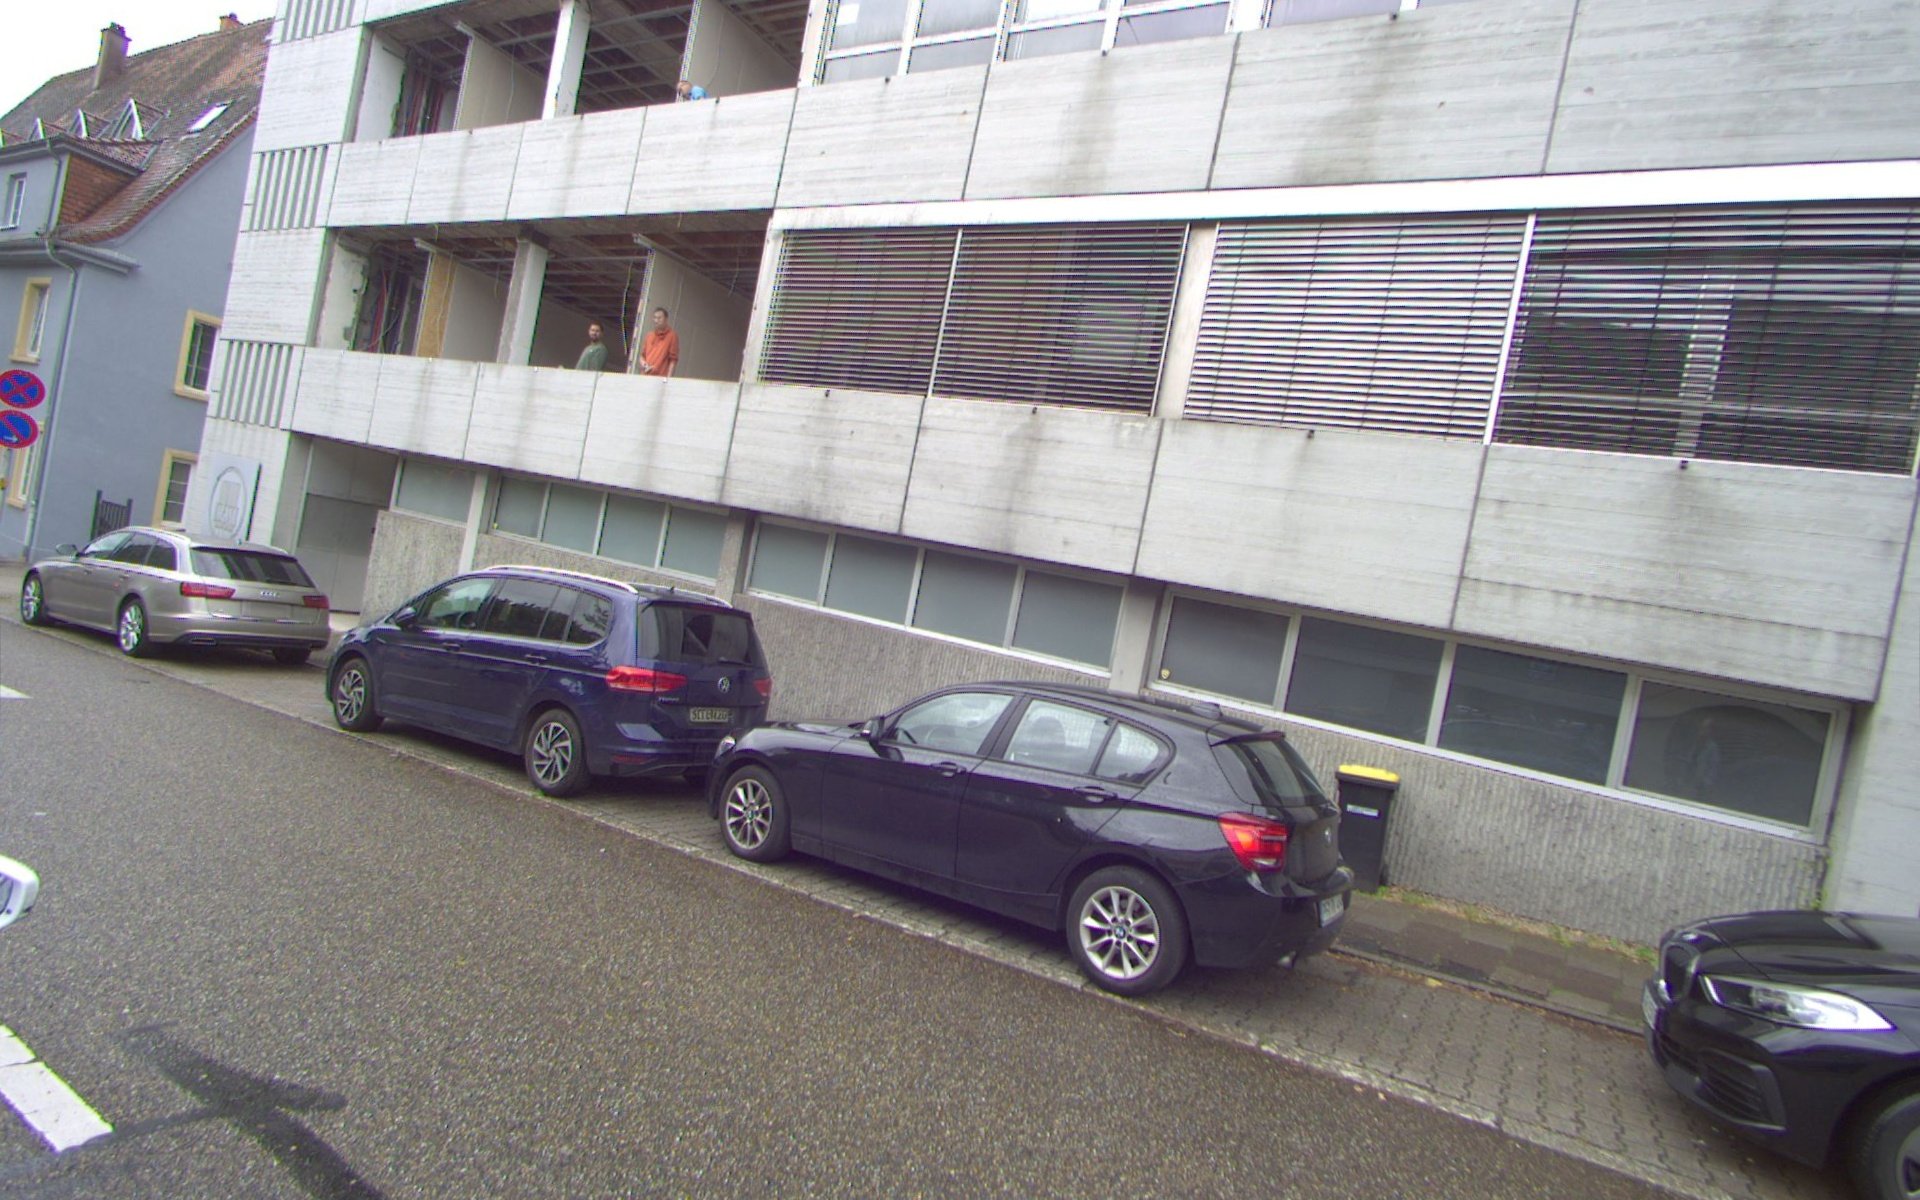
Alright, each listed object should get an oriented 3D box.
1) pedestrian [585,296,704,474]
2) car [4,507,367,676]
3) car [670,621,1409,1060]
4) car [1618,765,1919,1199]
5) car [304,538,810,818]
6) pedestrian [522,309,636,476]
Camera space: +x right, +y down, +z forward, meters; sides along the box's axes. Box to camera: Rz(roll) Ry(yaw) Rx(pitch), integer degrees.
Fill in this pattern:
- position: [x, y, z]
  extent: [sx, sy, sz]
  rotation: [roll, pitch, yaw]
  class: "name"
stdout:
- position: [-4.089, -2.753, 13.086]
  extent: [0.847, 2.036, 0.909]
  rotation: [6, -2, 31]
  class: "pedestrian"
- position: [-9.808, -0.128, 12.675]
  extent: [4.449, 1.465, 1.967]
  rotation: [7, -1, 30]
  class: "car"
- position: [0.332, 1.161, 6.311]
  extent: [4.183, 1.465, 1.750]
  rotation: [7, -1, 34]
  class: "car"
- position: [5.083, 1.774, 3.534]
  extent: [4.367, 1.452, 1.997]
  rotation: [7, -1, 30]
  class: "car"
- position: [-3.533, 0.550, 8.651]
  extent: [4.090, 1.618, 1.732]
  rotation: [7, -1, 30]
  class: "car"
- position: [-5.277, -2.839, 13.955]
  extent: [0.847, 2.036, 0.909]
  rotation: [6, -2, 31]
  class: "pedestrian"
